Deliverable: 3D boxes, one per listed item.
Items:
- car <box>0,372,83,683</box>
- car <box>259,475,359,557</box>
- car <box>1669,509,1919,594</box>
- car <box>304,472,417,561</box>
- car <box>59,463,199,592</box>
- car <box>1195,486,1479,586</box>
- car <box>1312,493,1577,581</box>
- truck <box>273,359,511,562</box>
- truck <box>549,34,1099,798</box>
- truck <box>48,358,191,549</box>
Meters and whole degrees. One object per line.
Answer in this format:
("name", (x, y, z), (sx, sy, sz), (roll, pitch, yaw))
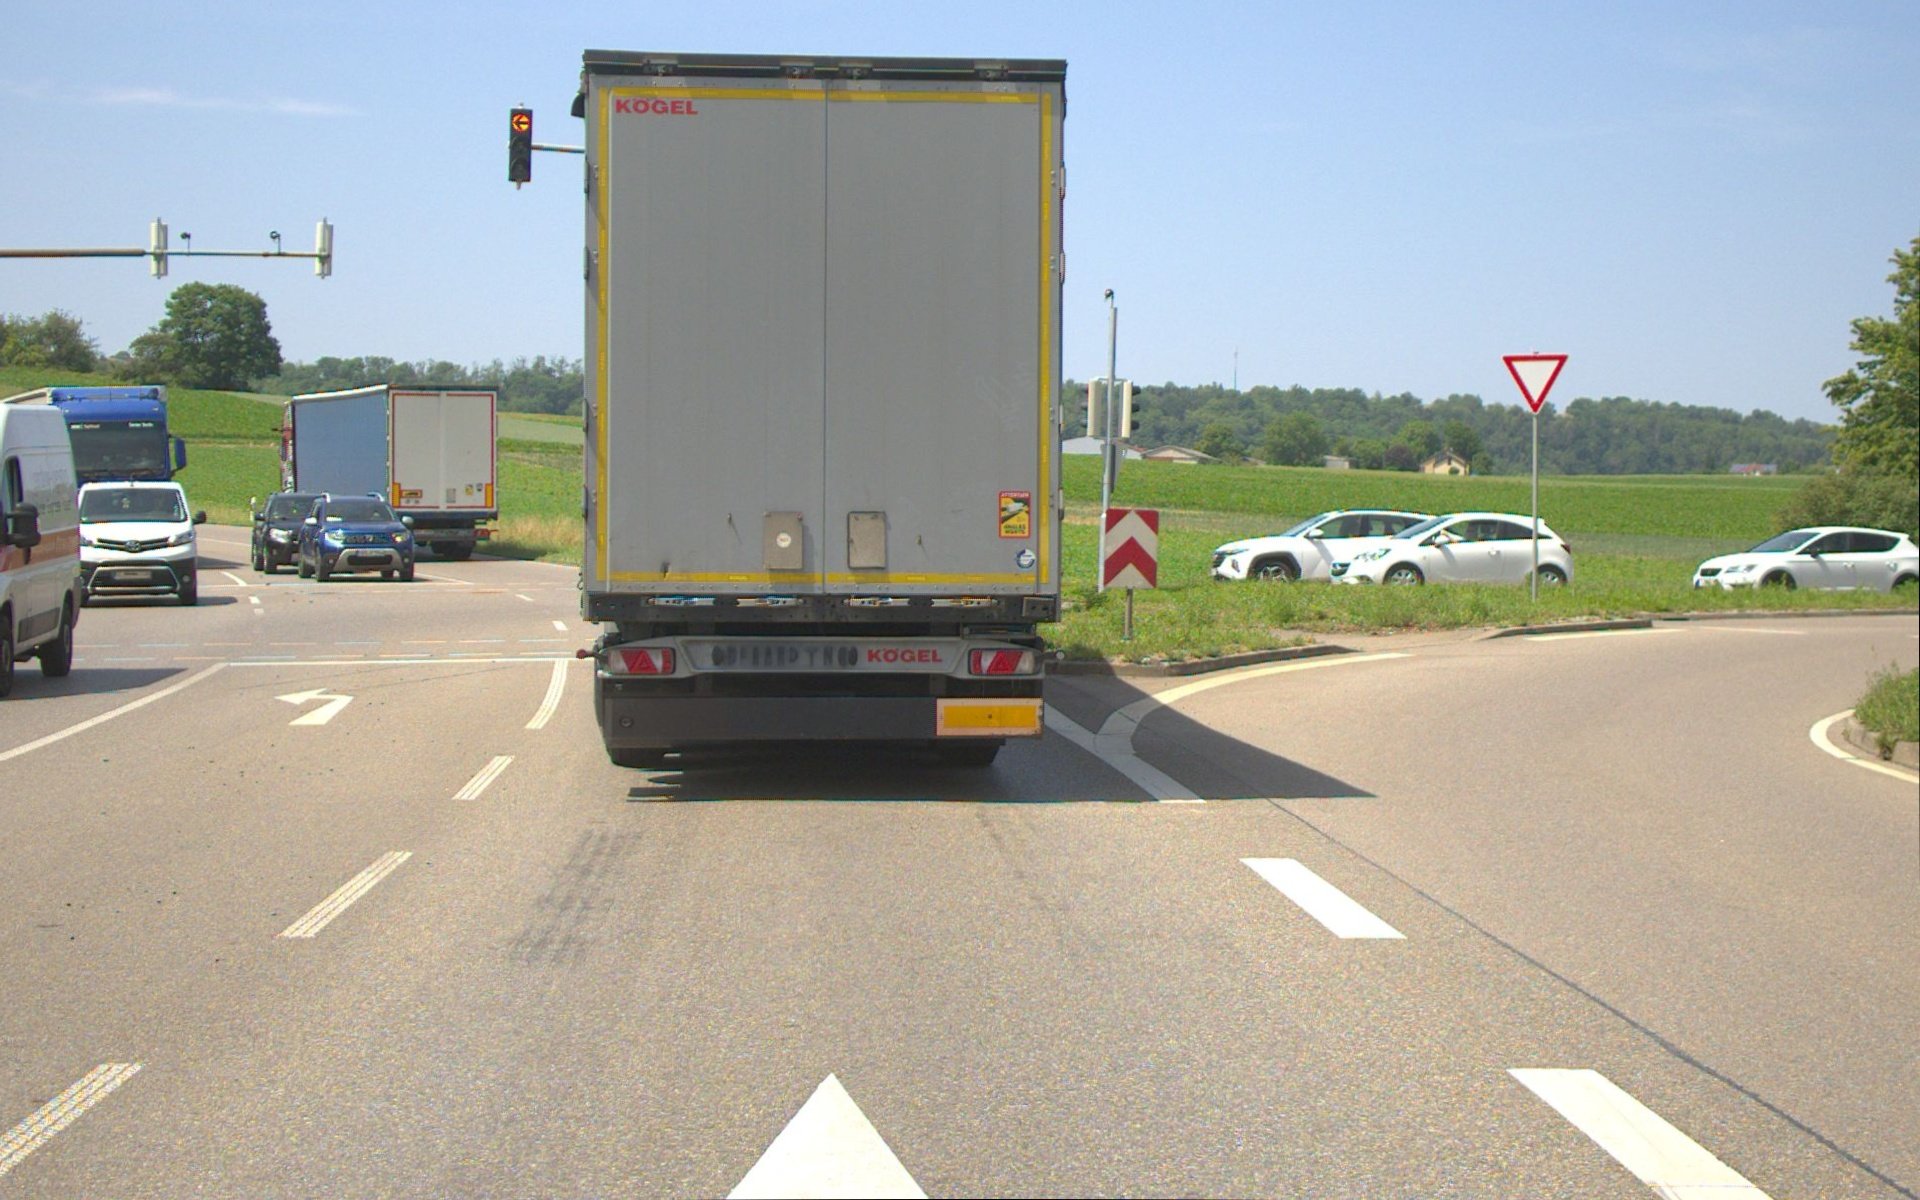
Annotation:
("car", (-8.896, -0.636, 29.459), (2.050, 2.443, 5.270), (-1, 2, -8))
("car", (-13.567, -1.757, 71.509), (1.770, 1.652, 4.001), (-1, 2, -14))
("car", (14.442, -0.821, 59.088), (4.091, 1.414, 1.801), (0, 1, -21))
("car", (-11.463, -1.608, 65.589), (1.770, 1.652, 4.001), (-1, 2, -15))
("car", (-12.880, -1.136, 53.105), (1.870, 1.879, 4.953), (-1, 2, -16))
("car", (6.641, -1.117, 60.875), (4.625, 1.602, 1.999), (1, 0, -7))
("car", (8.007, -1.036, 56.921), (3.958, 1.414, 1.829), (0, 1, -11))
("truck", (-14.376, -3.380, 85.571), (2.960, 4.568, 16.321), (-1, 2, -20))
("truck", (-1.121, -1.084, 22.762), (2.807, 3.932, 9.593), (1, 2, -5))
("truck", (-18.631, -3.232, 75.980), (2.566, 4.016, 6.563), (-1, 2, -18))
